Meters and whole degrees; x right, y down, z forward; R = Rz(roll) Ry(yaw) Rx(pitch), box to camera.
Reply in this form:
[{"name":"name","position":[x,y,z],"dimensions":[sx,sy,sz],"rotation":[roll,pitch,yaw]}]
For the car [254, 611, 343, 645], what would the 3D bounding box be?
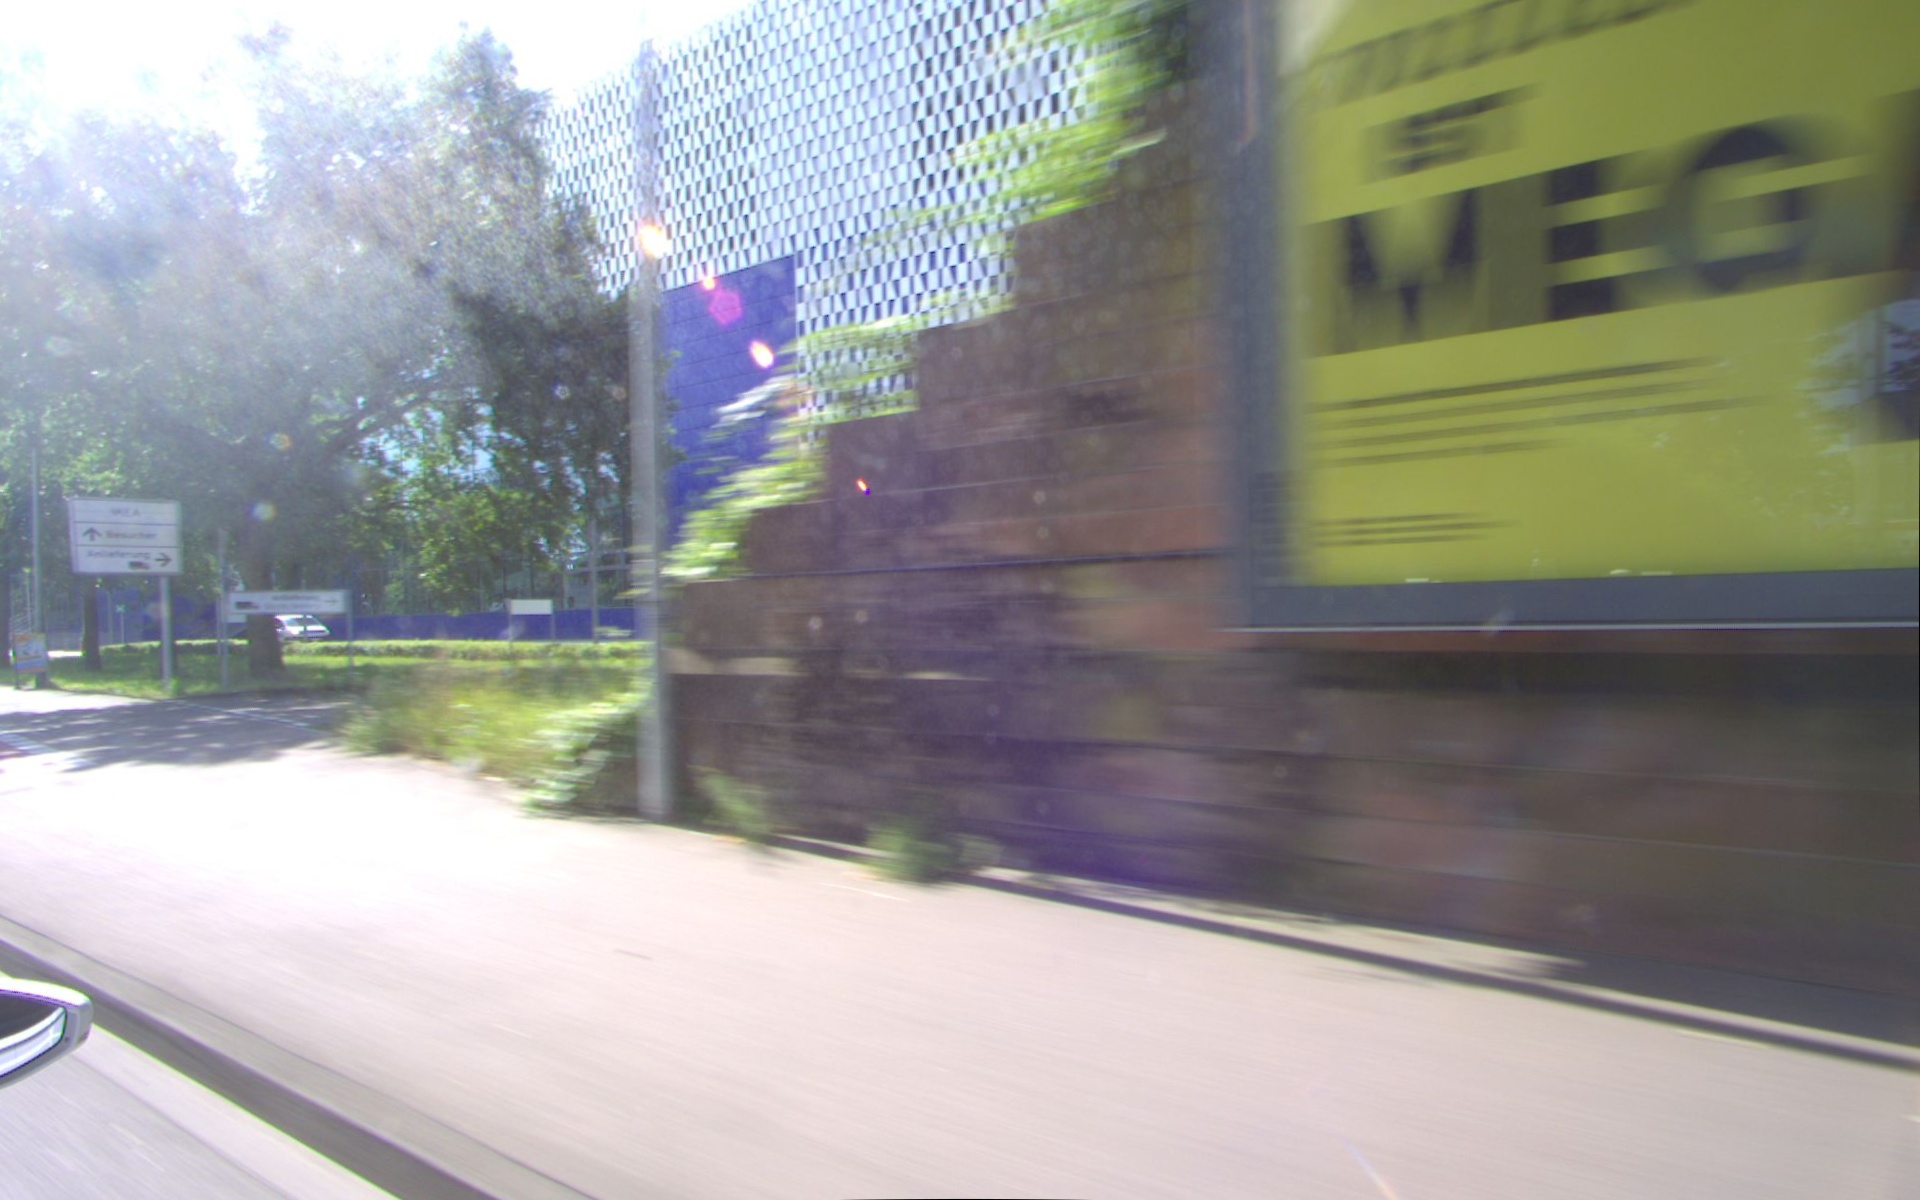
[{"name":"car","position":[-33.416,1.448,50.568],"dimensions":[4.235,1.660,1.851],"rotation":[-1,-2,26]}]
